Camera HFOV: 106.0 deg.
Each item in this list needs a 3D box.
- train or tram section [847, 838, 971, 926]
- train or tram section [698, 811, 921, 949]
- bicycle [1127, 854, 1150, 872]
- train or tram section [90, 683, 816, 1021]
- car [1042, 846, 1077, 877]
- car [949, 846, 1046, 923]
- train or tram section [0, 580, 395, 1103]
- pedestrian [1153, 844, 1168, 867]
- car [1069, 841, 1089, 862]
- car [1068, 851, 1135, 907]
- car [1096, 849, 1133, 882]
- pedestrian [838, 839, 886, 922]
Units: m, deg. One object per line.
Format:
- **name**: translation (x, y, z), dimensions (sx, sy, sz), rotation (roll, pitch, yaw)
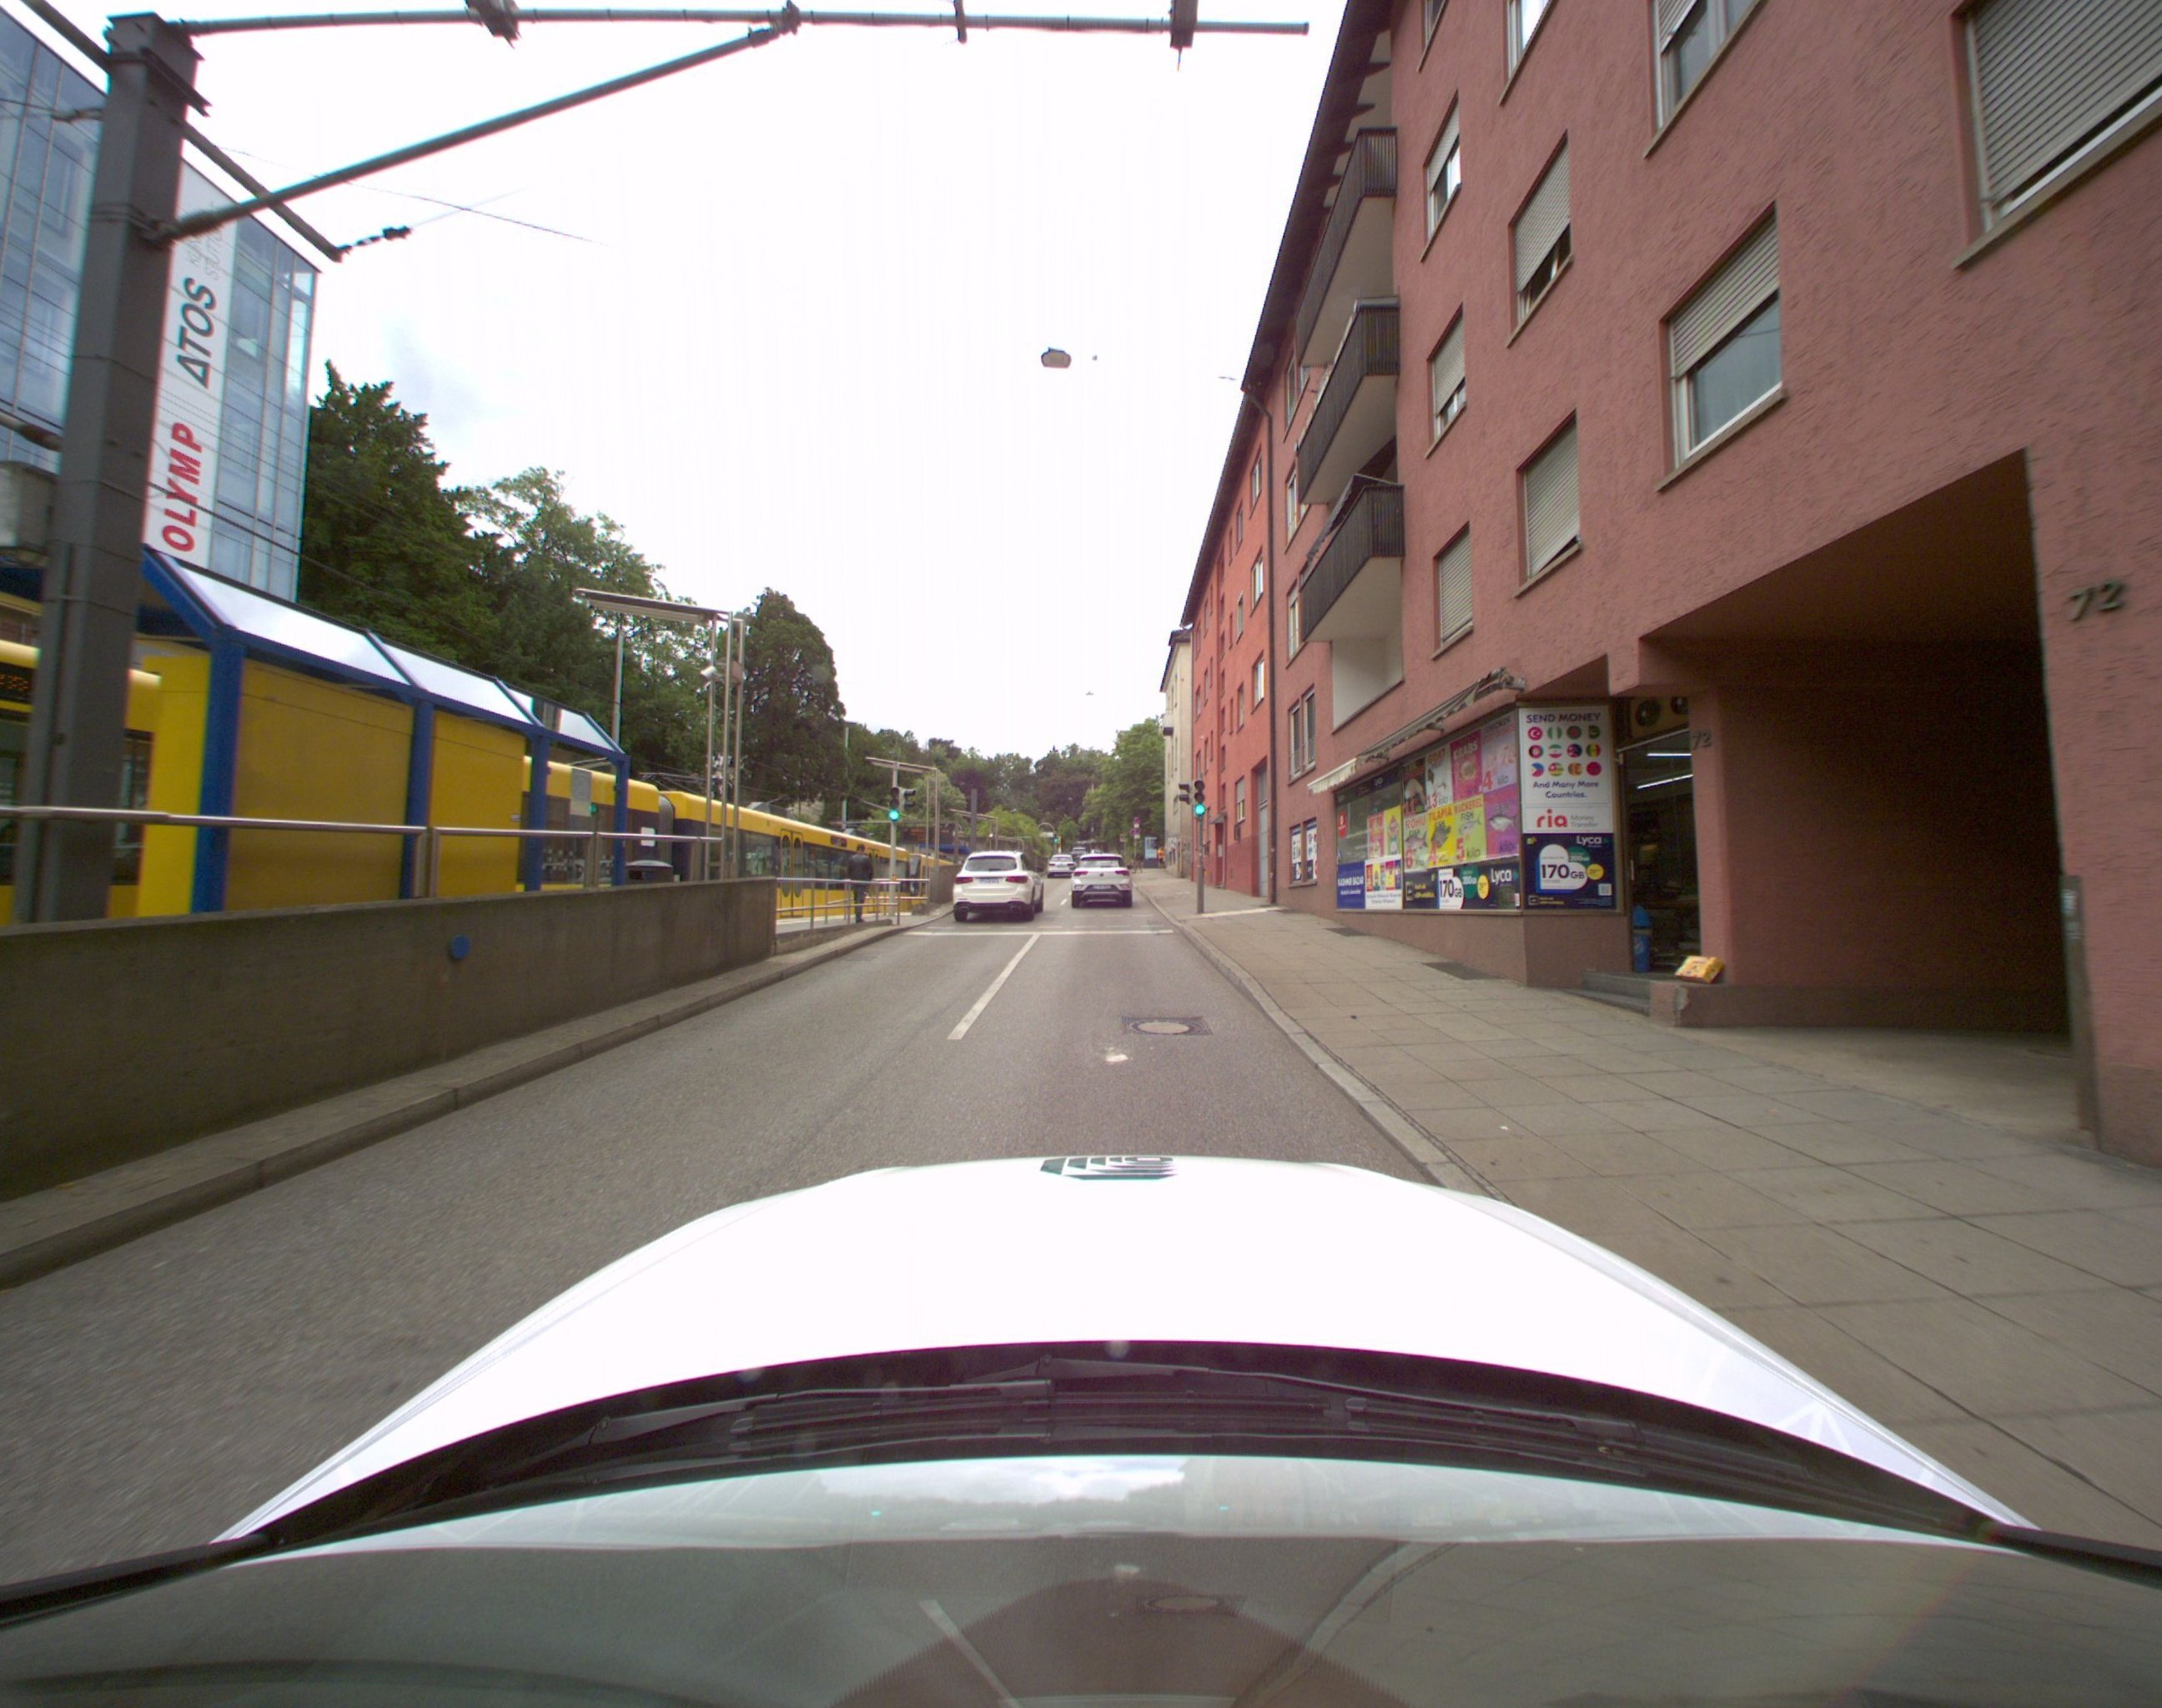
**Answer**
- **train or tram section**: translation (-7.800, 1.296, 39.319), dimensions (2.939, 3.509, 12.987), rotation (0, -2, 1)
- **train or tram section**: translation (-8.074, 0.877, 26.747), dimensions (2.939, 3.484, 12.219), rotation (0, -2, 1)
- **bicycle**: translation (3.800, 0.587, 54.149), dimensions (0.641, 1.143, 2.049), rotation (-4, 1, -23)
- **train or tram section**: translation (-8.404, 0.310, 14.463), dimensions (2.938, 3.472, 12.220), rotation (0, -3, 2)
- **car**: translation (-1.335, 0.441, 52.429), dimensions (1.986, 1.881, 4.001), rotation (1, 0, 1)
- **car**: translation (-1.967, 0.683, 20.376), dimensions (1.870, 1.652, 4.341), rotation (-2, 0, 1)
- **train or tram section**: translation (-8.901, -0.225, 2.310), dimensions (2.938, 3.544, 12.401), rotation (0, -2, 2)
- **pedestrian**: translation (6.004, 0.120, 61.577), dimensions (0.833, 1.712, 0.818), rotation (-1, 0, -12)
- **car**: translation (-0.167, -0.233, 77.422), dimensions (1.743, 1.881, 4.001), rotation (1, 0, 1)
- **car**: translation (0.671, 0.697, 24.715), dimensions (1.857, 1.556, 3.897), rotation (0, 0, 3)
- **car**: translation (1.732, 0.569, 42.933), dimensions (1.854, 1.632, 3.961), rotation (0, 0, 2)
- **pedestrian**: translation (-4.794, 0.562, 17.898), dimensions (0.797, 1.777, 0.819), rotation (1, 0, 1)
